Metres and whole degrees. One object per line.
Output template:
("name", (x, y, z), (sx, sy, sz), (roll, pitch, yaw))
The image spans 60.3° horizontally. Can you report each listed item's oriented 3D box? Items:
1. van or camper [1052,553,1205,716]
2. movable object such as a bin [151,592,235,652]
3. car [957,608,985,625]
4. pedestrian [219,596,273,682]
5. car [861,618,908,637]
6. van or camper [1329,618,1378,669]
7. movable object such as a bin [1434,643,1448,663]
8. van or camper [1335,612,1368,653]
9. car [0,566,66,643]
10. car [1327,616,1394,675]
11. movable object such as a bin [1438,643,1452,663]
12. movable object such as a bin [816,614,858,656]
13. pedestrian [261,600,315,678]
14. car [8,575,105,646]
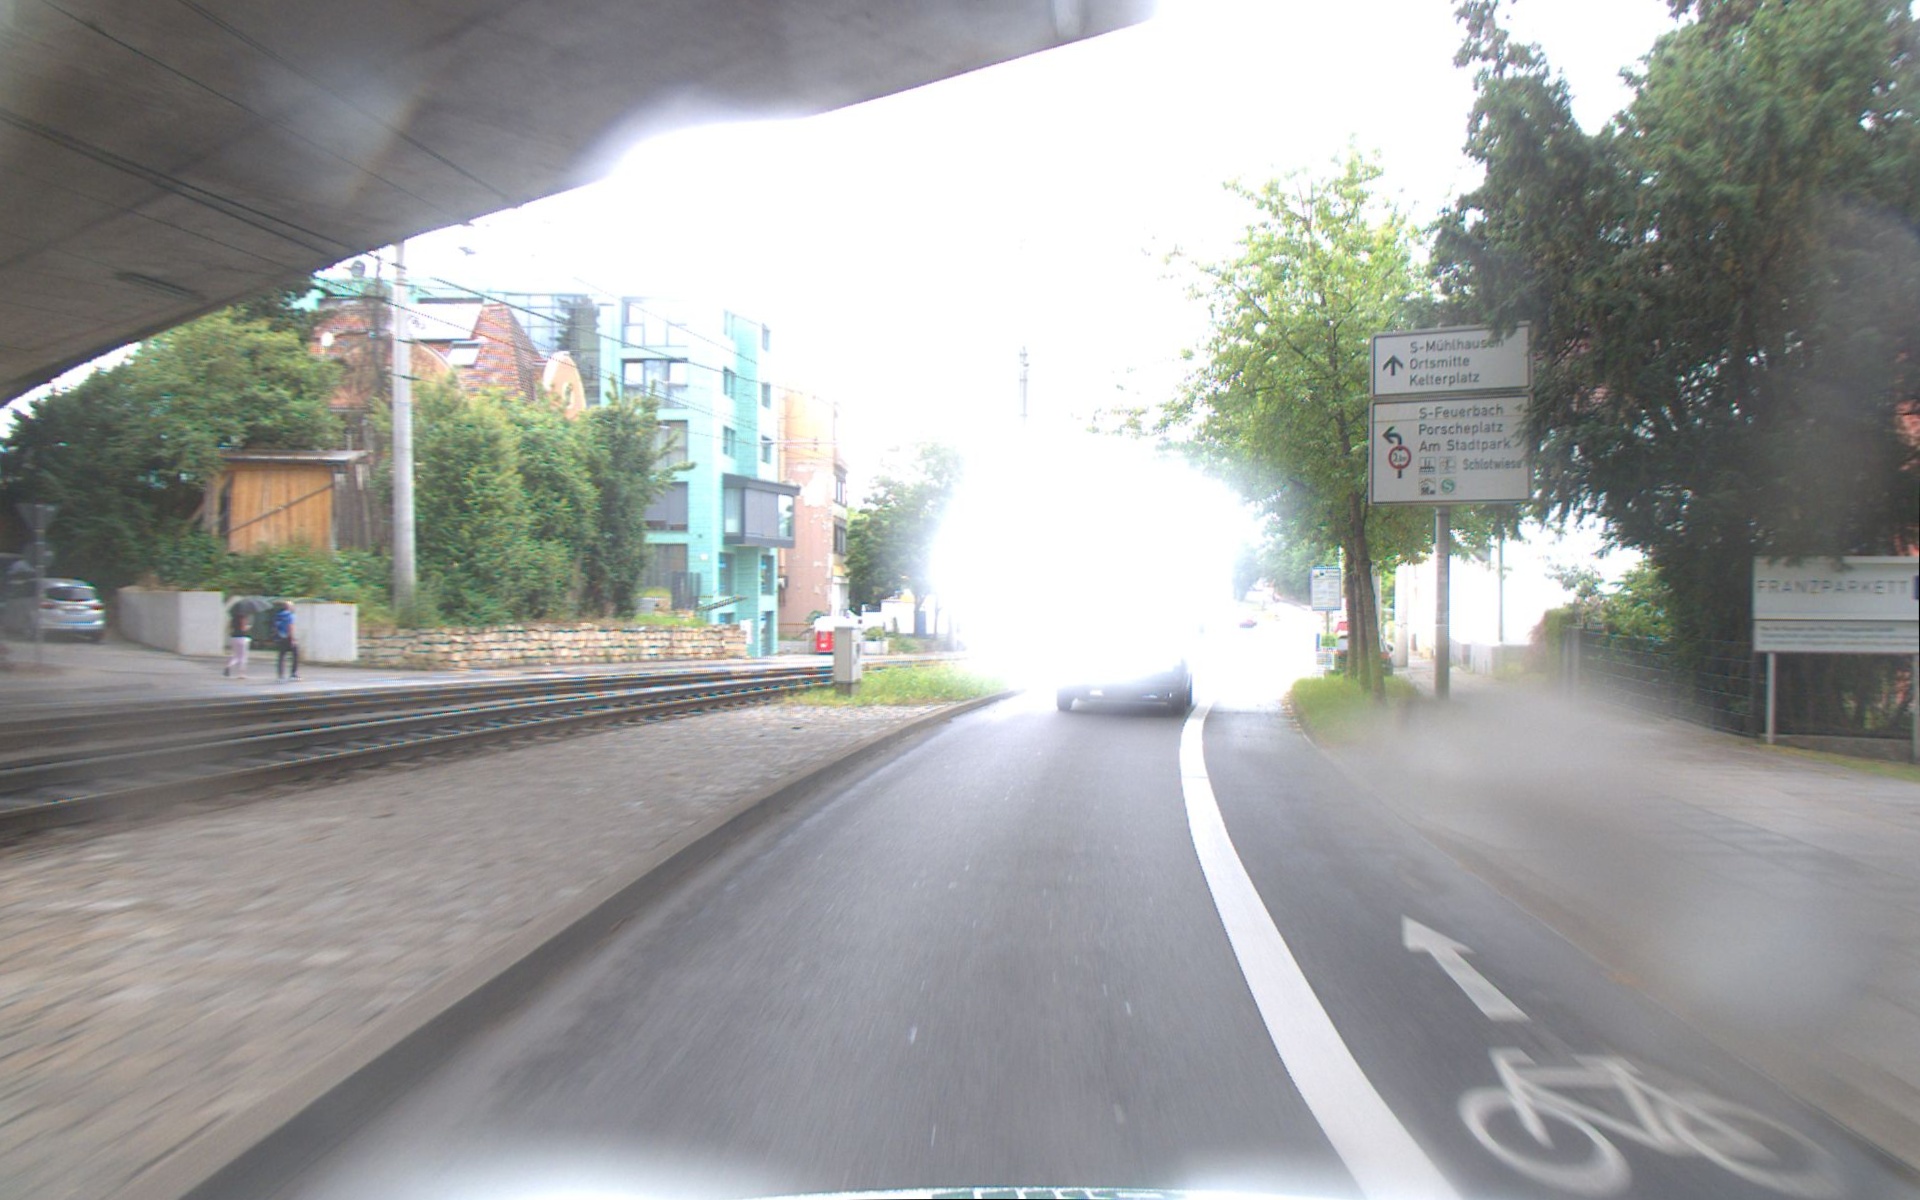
("van or camper", (2.800, 0.548, 26.537), (2.152, 2.292, 4.687), (2, -1, 8))
("movable object such as a bin", (-20.793, 0.595, 44.828), (1.549, 1.505, 1.774), (2, 1, -43))
("car", (1.018, 1.581, 154.204), (1.951, 1.467, 4.003), (2, -1, 10))
("pedestrian", (-15.907, 0.853, 36.851), (0.678, 1.863, 0.867), (1, 0, 12))
("car", (-6.229, 2.241, 136.296), (3.700, 1.479, 1.547), (1, 0, -14))
("van or camper", (15.605, 1.711, 65.690), (1.811, 1.954, 4.998), (0, -1, 13))
("movable object such as a bin", (21.425, 2.353, 73.630), (0.574, 0.895, 0.448), (0, -1, 11))
("van or camper", (26.646, 2.196, 112.606), (1.951, 2.608, 6.048), (2, 0, 12))
("car", (-27.749, 0.114, 48.805), (1.780, 2.075, 3.153), (3, 1, -39))
("car", (10.716, 1.220, 44.281), (1.641, 1.448, 4.568), (1, -1, 13))
("movable object such as a bin", (21.458, 2.333, 73.142), (0.574, 0.895, 0.448), (0, -1, 11))
("movable object such as a bin", (-6.987, 1.982, 93.945), (2.089, 2.194, 1.803), (3, 0, 4))
("pedestrian", (-14.975, 0.862, 36.883), (0.679, 1.699, 0.888), (1, 0, 15))
("car", (-24.569, 0.261, 44.944), (1.703, 1.696, 3.153), (3, 1, -39))
